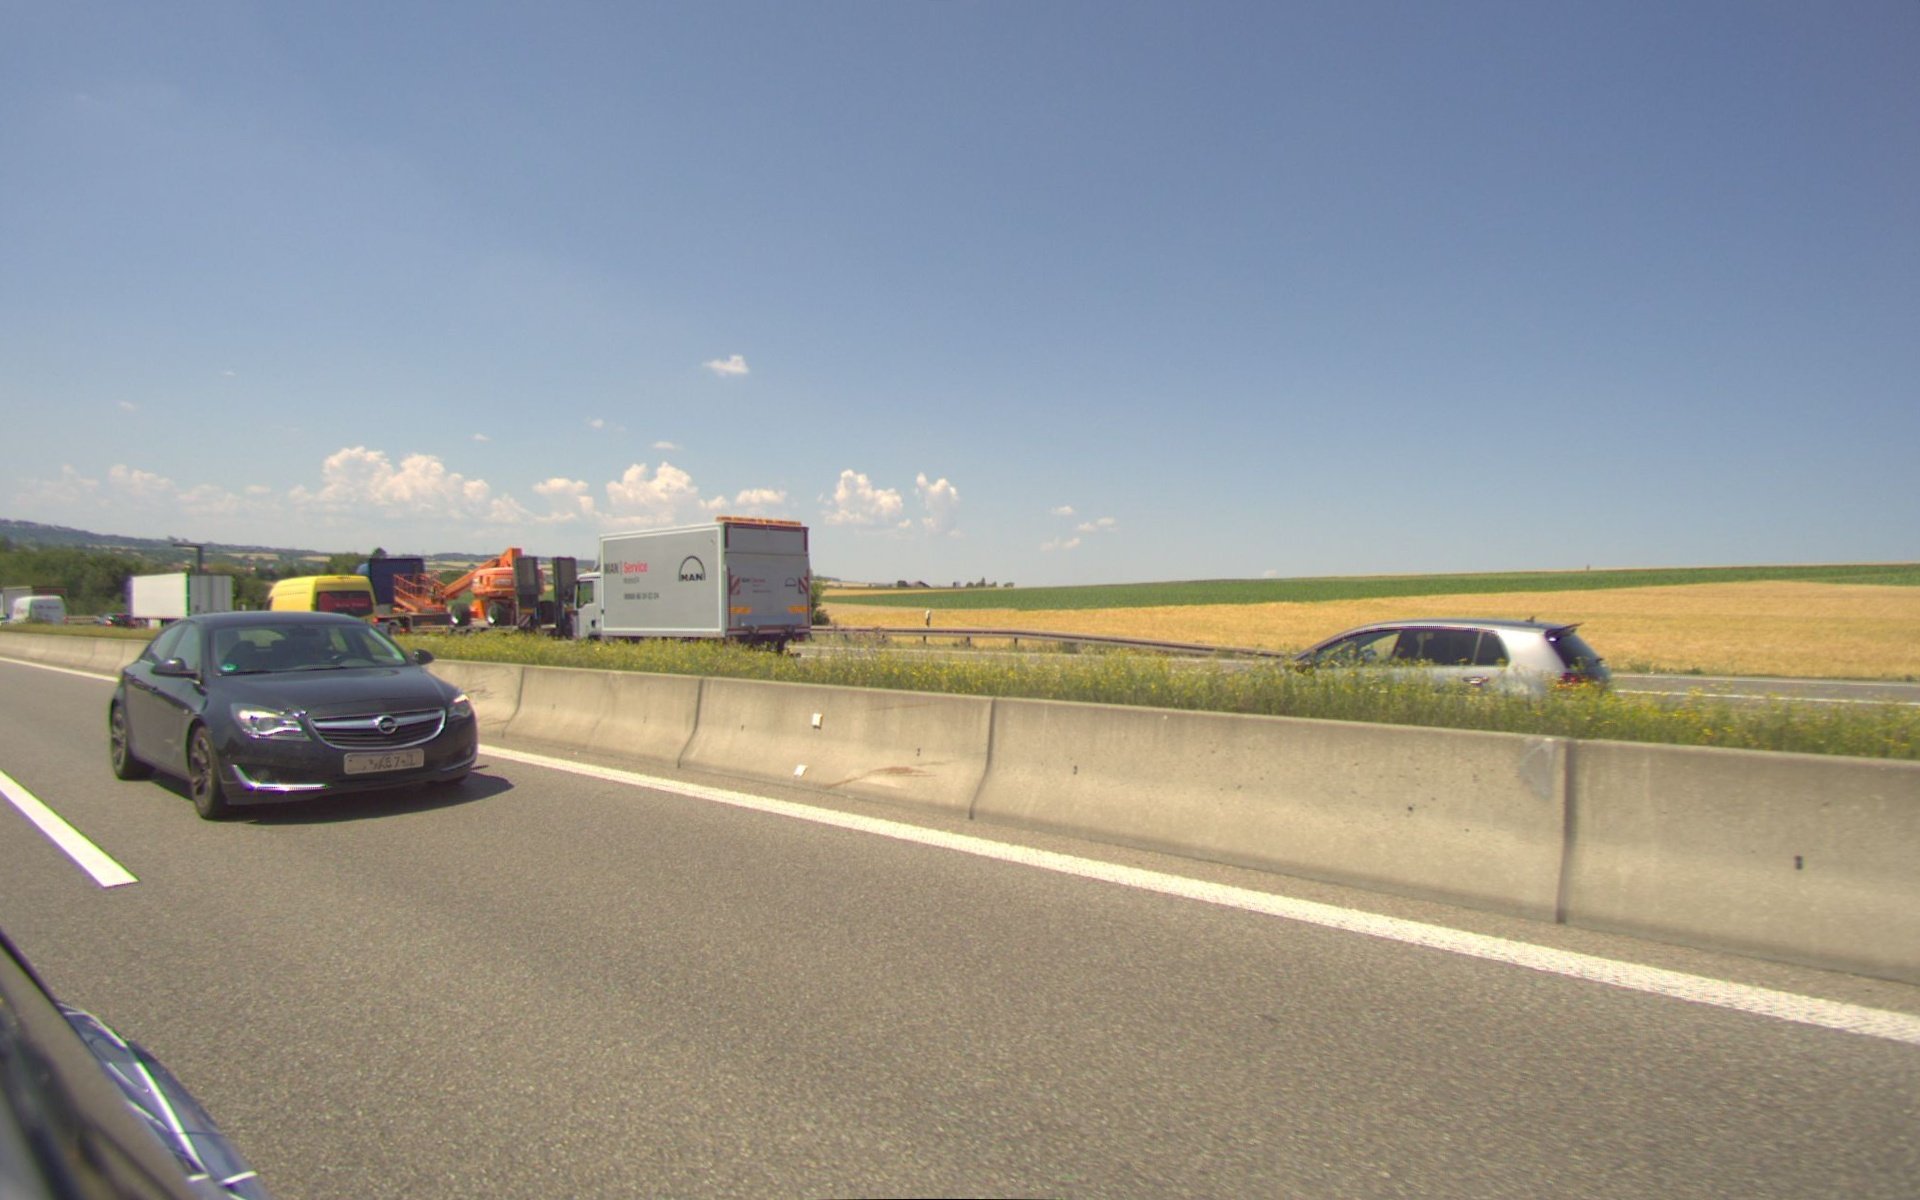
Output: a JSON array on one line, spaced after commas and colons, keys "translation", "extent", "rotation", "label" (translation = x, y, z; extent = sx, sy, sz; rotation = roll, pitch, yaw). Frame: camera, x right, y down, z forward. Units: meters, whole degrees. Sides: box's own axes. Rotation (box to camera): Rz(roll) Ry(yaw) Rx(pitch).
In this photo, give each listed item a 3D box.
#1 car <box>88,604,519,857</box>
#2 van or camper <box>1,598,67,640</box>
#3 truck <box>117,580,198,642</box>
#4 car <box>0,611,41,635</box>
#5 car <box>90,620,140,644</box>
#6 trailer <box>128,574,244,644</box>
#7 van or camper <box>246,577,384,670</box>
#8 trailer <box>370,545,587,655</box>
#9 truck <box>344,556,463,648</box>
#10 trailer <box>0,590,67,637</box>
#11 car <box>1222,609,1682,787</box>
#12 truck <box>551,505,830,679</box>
[{"translation": [-5.708, 0.846, 8.514], "extent": [4.746, 1.555, 1.784], "rotation": [-1, -1, 41], "label": "car"}, {"translation": [-58.709, 1.196, 64.092], "extent": [7.513, 2.482, 2.047], "rotation": [-1, -2, 40], "label": "van or camper"}, {"translation": [-58.335, 0.814, 73.526], "extent": [7.119, 4.238, 3.195], "rotation": [-1, -1, 39], "label": "truck"}, {"translation": [-67.624, 1.625, 72.408], "extent": [5.662, 1.599, 1.908], "rotation": [-1, 0, 39], "label": "car"}, {"translation": [-55.239, 2.081, 66.127], "extent": [4.499, 1.490, 1.800], "rotation": [-1, 0, 40], "label": "car"}, {"translation": [-53.238, 0.646, 69.347], "extent": [14.013, 4.420, 3.210], "rotation": [-1, 0, 39], "label": "trailer"}, {"translation": [-20.629, 0.715, 32.231], "extent": [6.136, 2.728, 2.063], "rotation": [-1, 0, 41], "label": "van or camper"}, {"translation": [-20.470, 0.043, 42.245], "extent": [13.718, 3.988, 2.810], "rotation": [-1, 0, 41], "label": "trailer"}, {"translation": [-25.750, 0.113, 46.711], "extent": [6.132, 3.967, 2.748], "rotation": [-1, -1, 40], "label": "truck"}, {"translation": [-91.049, 1.273, 99.105], "extent": [14.529, 4.357, 3.093], "rotation": [-1, 0, 39], "label": "trailer"}, {"translation": [4.983, 0.851, 10.553], "extent": [3.998, 1.479, 1.768], "rotation": [-1, 0, 41], "label": "car"}, {"translation": [-6.998, -0.114, 25.534], "extent": [7.774, 3.772, 2.906], "rotation": [-2, -1, 41], "label": "truck"}]
